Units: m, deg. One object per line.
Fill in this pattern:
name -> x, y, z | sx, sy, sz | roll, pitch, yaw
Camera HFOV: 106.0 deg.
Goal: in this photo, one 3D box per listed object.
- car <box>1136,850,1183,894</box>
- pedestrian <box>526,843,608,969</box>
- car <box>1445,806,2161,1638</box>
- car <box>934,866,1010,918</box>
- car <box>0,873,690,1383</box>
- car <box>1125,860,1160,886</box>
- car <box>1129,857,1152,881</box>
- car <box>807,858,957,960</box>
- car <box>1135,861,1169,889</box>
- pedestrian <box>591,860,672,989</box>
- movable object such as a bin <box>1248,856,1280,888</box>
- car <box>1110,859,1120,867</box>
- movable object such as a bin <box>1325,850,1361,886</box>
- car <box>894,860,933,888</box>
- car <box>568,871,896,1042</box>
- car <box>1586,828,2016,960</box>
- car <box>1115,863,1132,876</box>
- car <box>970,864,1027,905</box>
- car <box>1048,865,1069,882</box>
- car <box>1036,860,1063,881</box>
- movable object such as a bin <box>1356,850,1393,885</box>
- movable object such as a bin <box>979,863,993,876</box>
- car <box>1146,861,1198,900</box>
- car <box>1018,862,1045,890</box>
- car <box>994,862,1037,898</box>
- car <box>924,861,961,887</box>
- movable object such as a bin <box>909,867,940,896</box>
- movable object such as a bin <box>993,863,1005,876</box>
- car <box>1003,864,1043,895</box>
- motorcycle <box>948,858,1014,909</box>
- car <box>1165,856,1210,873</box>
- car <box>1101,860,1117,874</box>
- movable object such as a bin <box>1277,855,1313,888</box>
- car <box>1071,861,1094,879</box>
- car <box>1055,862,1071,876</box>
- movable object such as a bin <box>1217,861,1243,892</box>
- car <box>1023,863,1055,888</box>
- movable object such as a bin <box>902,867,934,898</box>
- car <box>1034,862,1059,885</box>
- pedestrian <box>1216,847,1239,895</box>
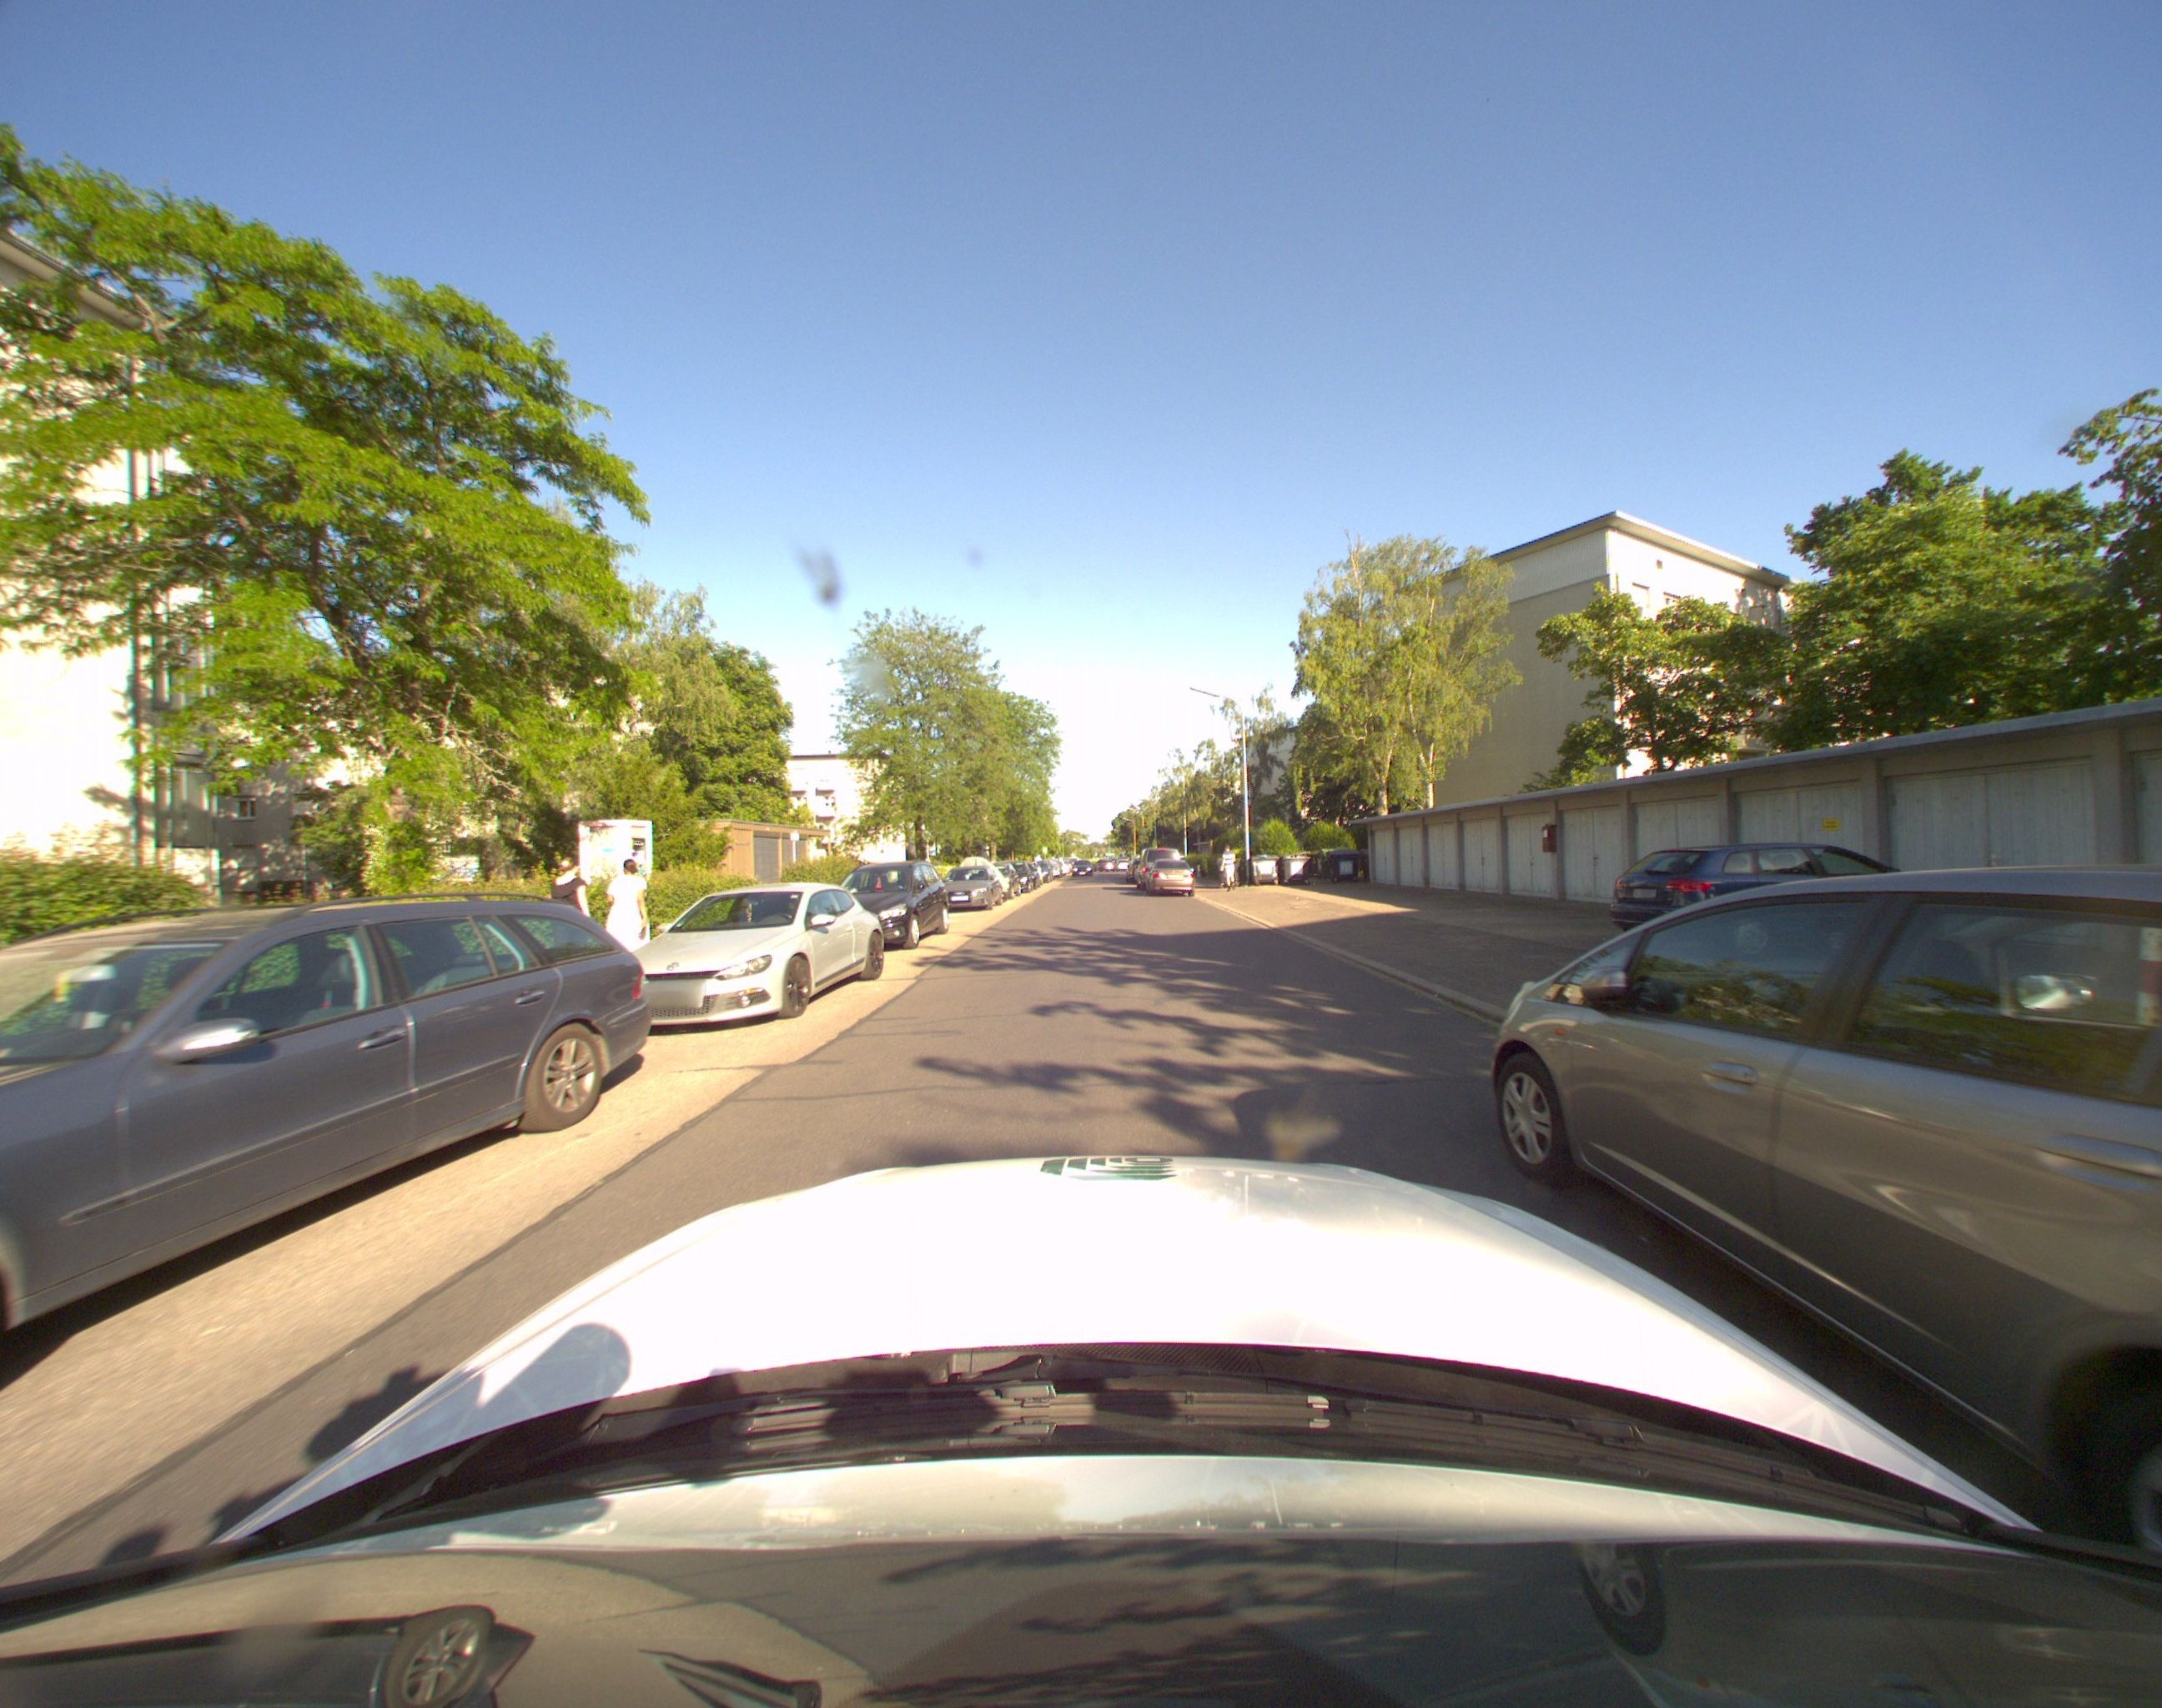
car -> 3.667, 0.826, 38.810 | 1.846, 1.934, 4.704 | 0, 0, 0
pedestrian -> -7.097, 0.697, 11.268 | 0.718, 1.679, 0.600 | -1, -1, 1
car -> 2.877, 0.648, 2.643 | 1.797, 1.494, 3.797 | -1, 0, 2
car -> -3.500, 1.194, 26.815 | 1.748, 1.421, 4.270 | -4, 0, 1
car -> -4.062, 0.920, 3.843 | 1.747, 1.490, 4.904 | -5, -1, 3
car -> 3.803, 1.190, 51.366 | 1.727, 1.490, 4.498 | -3, 0, -1
car -> 4.292, 1.061, 58.588 | 1.484, 1.718, 2.583 | 0, -1, 1
car -> -3.781, 0.965, 16.282 | 1.748, 1.635, 4.371 | -4, 0, 1
car -> 3.938, 1.144, 45.649 | 1.617, 1.490, 4.036 | 0, 0, 0
pedestrian -> -6.085, 0.934, 11.040 | 0.718, 1.679, 0.616 | -1, -1, 1
movable object such as a bin -> 8.091, 0.783, 36.097 | 1.218, 1.365, 1.134 | -2, -1, 4
car -> 6.621, 1.789, 159.203 | 1.791, 1.562, 3.949 | -1, -1, -1
movable object such as a bin -> 11.754, 0.617, 36.543 | 1.270, 1.465, 1.135 | -2, 3, 4
car -> -10.319, 1.231, 50.361 | 1.566, 1.641, 3.998 | -1, -1, -1
car -> -3.672, 0.982, 9.532 | 1.747, 1.425, 4.213 | -4, -1, 3
car -> 9.335, 0.486, 10.806 | 4.171, 1.494, 1.816 | -1, 0, -2
car -> 5.057, 1.775, 96.779 | 1.748, 1.513, 4.102 | 0, -1, -1
car -> -3.434, 1.249, 34.467 | 1.747, 1.481, 3.962 | -4, 0, 3
car -> -2.171, 1.811, 78.006 | 1.660, 1.513, 3.531 | -3, -1, -5
car -> -2.619, 1.360, 67.825 | 1.896, 1.640, 4.349 | -3, 0, 1
movable object such as a bin -> 13.128, 0.605, 36.457 | 1.270, 1.465, 1.135 | -2, 3, 4
movable object such as a bin -> -10.149, 1.654, 87.168 | 1.172, 1.421, 1.463 | 1, 0, 3
car -> 3.603, 1.029, 33.070 | 1.794, 1.419, 4.639 | -1, -1, 3
car -> -3.097, 1.372, 51.461 | 1.440, 1.574, 3.142 | -4, -1, 0
car -> -3.179, 1.252, 40.132 | 1.749, 1.574, 3.719 | -4, -1, 0
car -> -8.392, 1.191, 49.582 | 1.566, 1.525, 3.998 | -1, -1, -1
movable object such as a bin -> -7.693, 1.344, 40.169 | 1.173, 1.340, 1.344 | -1, 0, 2
movable object such as a bin -> -8.848, 1.641, 87.733 | 1.130, 1.421, 1.362 | 1, 0, 2
car -> -3.151, 1.359, 44.851 | 1.748, 1.481, 4.537 | -4, 0, 0
motorcycle -> -3.685, 1.079, 30.193 | 2.250, 1.727, 0.931 | -4, -1, -2
car -> 10.974, 1.053, 83.921 | 4.399, 1.513, 1.829 | -3, 0, 1
car -> 3.177, 1.467, 93.735 | 1.675, 1.513, 4.102 | 0, -1, -1
movable object such as a bin -> 9.367, 0.759, 35.692 | 1.270, 1.365, 1.134 | -2, -1, 4
car -> 0.164, 1.462, 73.501 | 1.904, 1.476, 4.571 | -2, 0, 1
car -> -1.979, 1.649, 90.167 | 1.681, 1.505, 3.816 | -2, 0, -1
movable object such as a bin -> 6.790, 1.003, 37.096 | 1.019, 1.310, 1.391 | -5, -1, 11
car -> -2.897, 1.480, 56.987 | 1.747, 1.606, 3.970 | -4, -1, 2
movable object such as a bin -> -7.710, 1.340, 38.639 | 1.173, 1.408, 1.343 | -1, 0, 2
car -> -2.618, 1.475, 62.107 | 1.630, 1.606, 3.534 | -3, -1, 0
pedestrian -> 6.050, 0.698, 33.656 | 0.700, 1.888, 0.873 | -4, -1, 2
